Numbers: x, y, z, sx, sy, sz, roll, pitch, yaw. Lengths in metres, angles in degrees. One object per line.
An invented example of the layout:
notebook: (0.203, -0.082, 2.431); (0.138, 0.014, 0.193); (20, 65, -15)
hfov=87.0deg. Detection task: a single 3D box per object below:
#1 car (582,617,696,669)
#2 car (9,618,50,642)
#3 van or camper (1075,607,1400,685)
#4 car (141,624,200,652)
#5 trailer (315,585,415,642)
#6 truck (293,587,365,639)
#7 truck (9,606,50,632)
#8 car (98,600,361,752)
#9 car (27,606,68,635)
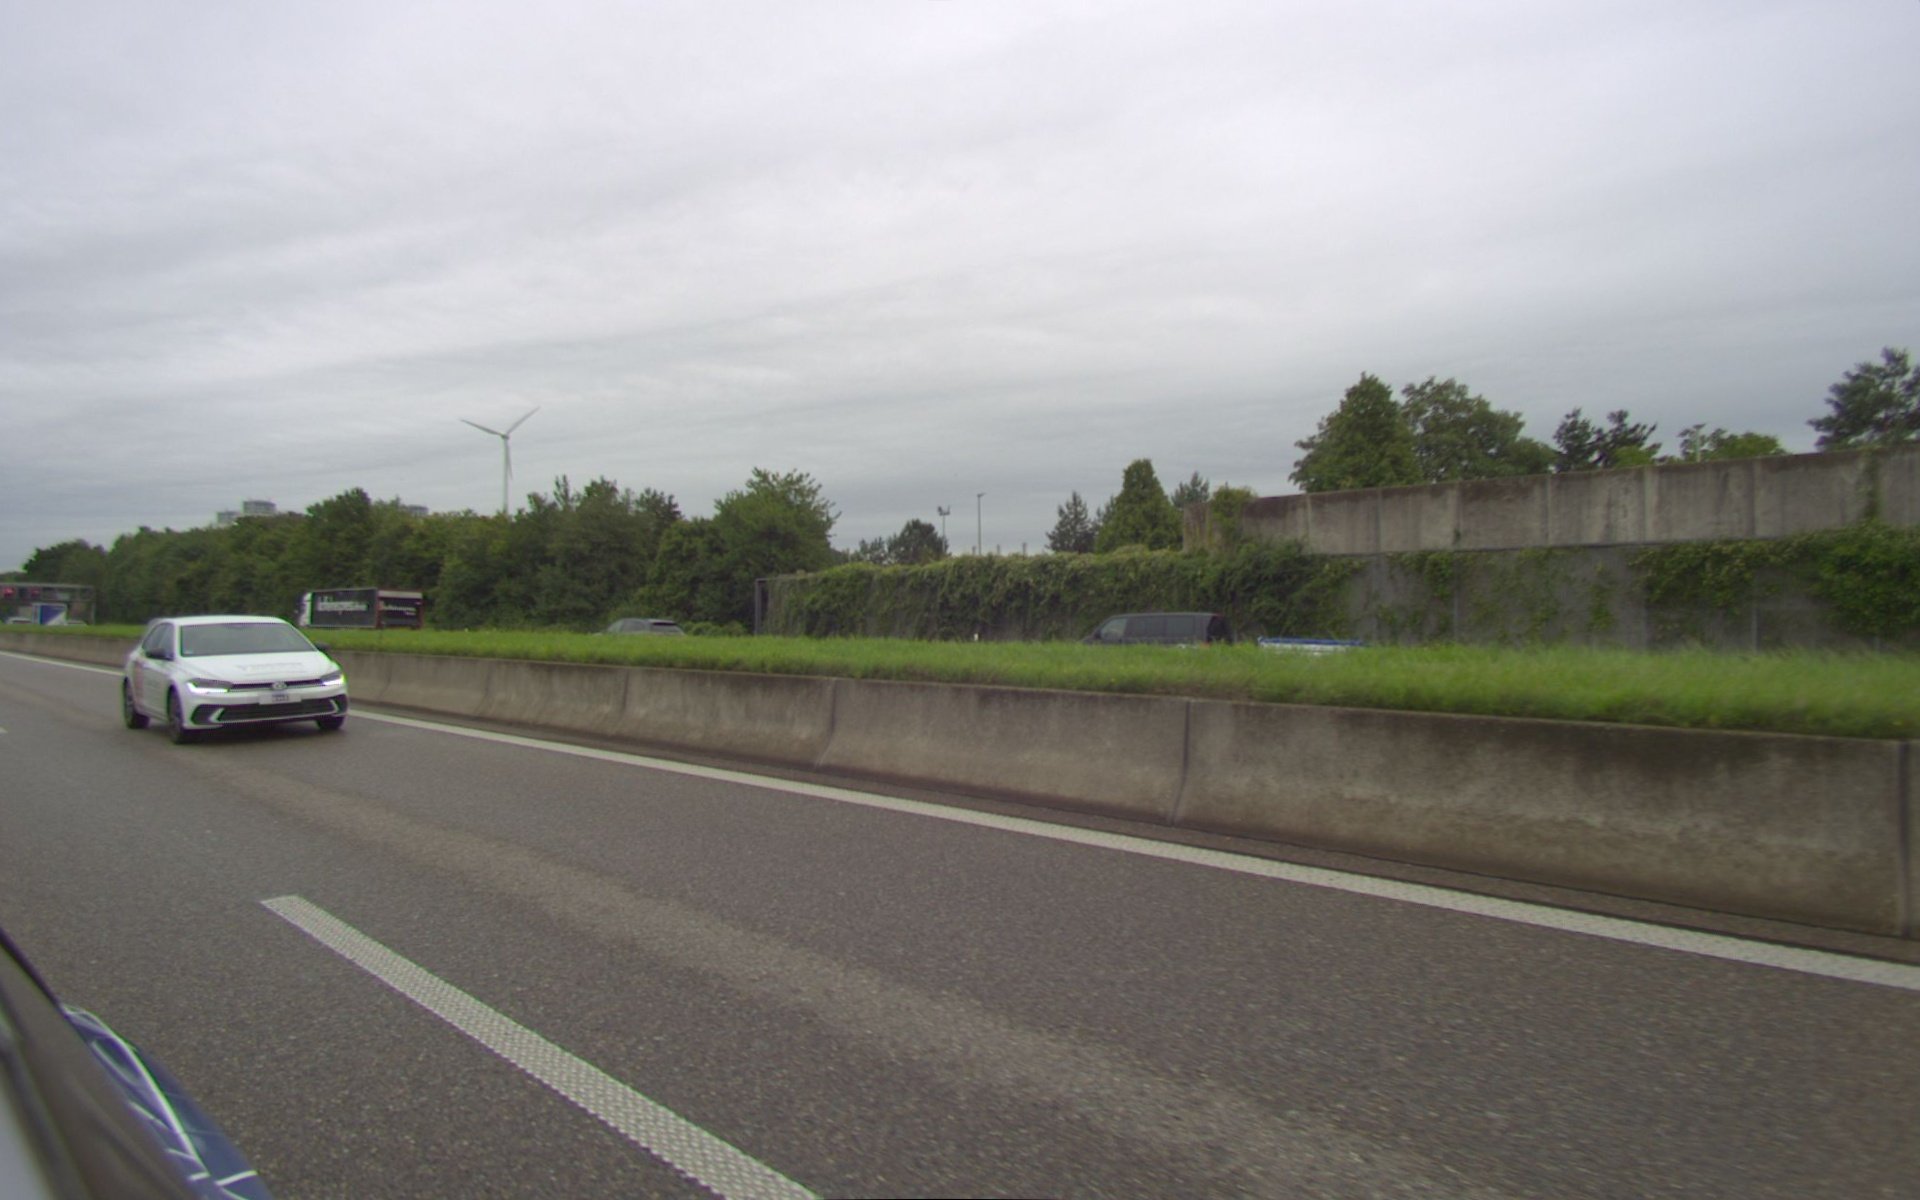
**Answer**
car: (-11.242, 1.453, 35.348); (4.290, 1.645, 1.765); (-1, 0, 40)
car: (-82.483, 2.628, 89.721); (4.515, 2.029, 2.099); (-1, -1, 40)
van or camper: (7.267, 1.144, 27.582); (8.431, 1.814, 2.169); (-1, 0, 41)
car: (-48.254, 2.283, 61.819); (4.739, 1.620, 1.973); (-1, -1, 41)
trailer: (-36.942, 0.819, 62.579); (10.560, 3.314, 2.282); (-1, 0, 42)
truck: (-41.791, 0.860, 66.936); (6.580, 3.297, 2.291); (-1, 0, 42)
truck: (-121.155, 2.426, 131.674); (11.355, 3.245, 2.853); (-1, 0, 42)
car: (-9.547, 0.862, 13.072); (4.661, 1.630, 1.735); (-1, -2, 41)
car: (-92.513, 2.079, 102.603); (7.313, 2.755, 2.297); (-1, 0, 42)
